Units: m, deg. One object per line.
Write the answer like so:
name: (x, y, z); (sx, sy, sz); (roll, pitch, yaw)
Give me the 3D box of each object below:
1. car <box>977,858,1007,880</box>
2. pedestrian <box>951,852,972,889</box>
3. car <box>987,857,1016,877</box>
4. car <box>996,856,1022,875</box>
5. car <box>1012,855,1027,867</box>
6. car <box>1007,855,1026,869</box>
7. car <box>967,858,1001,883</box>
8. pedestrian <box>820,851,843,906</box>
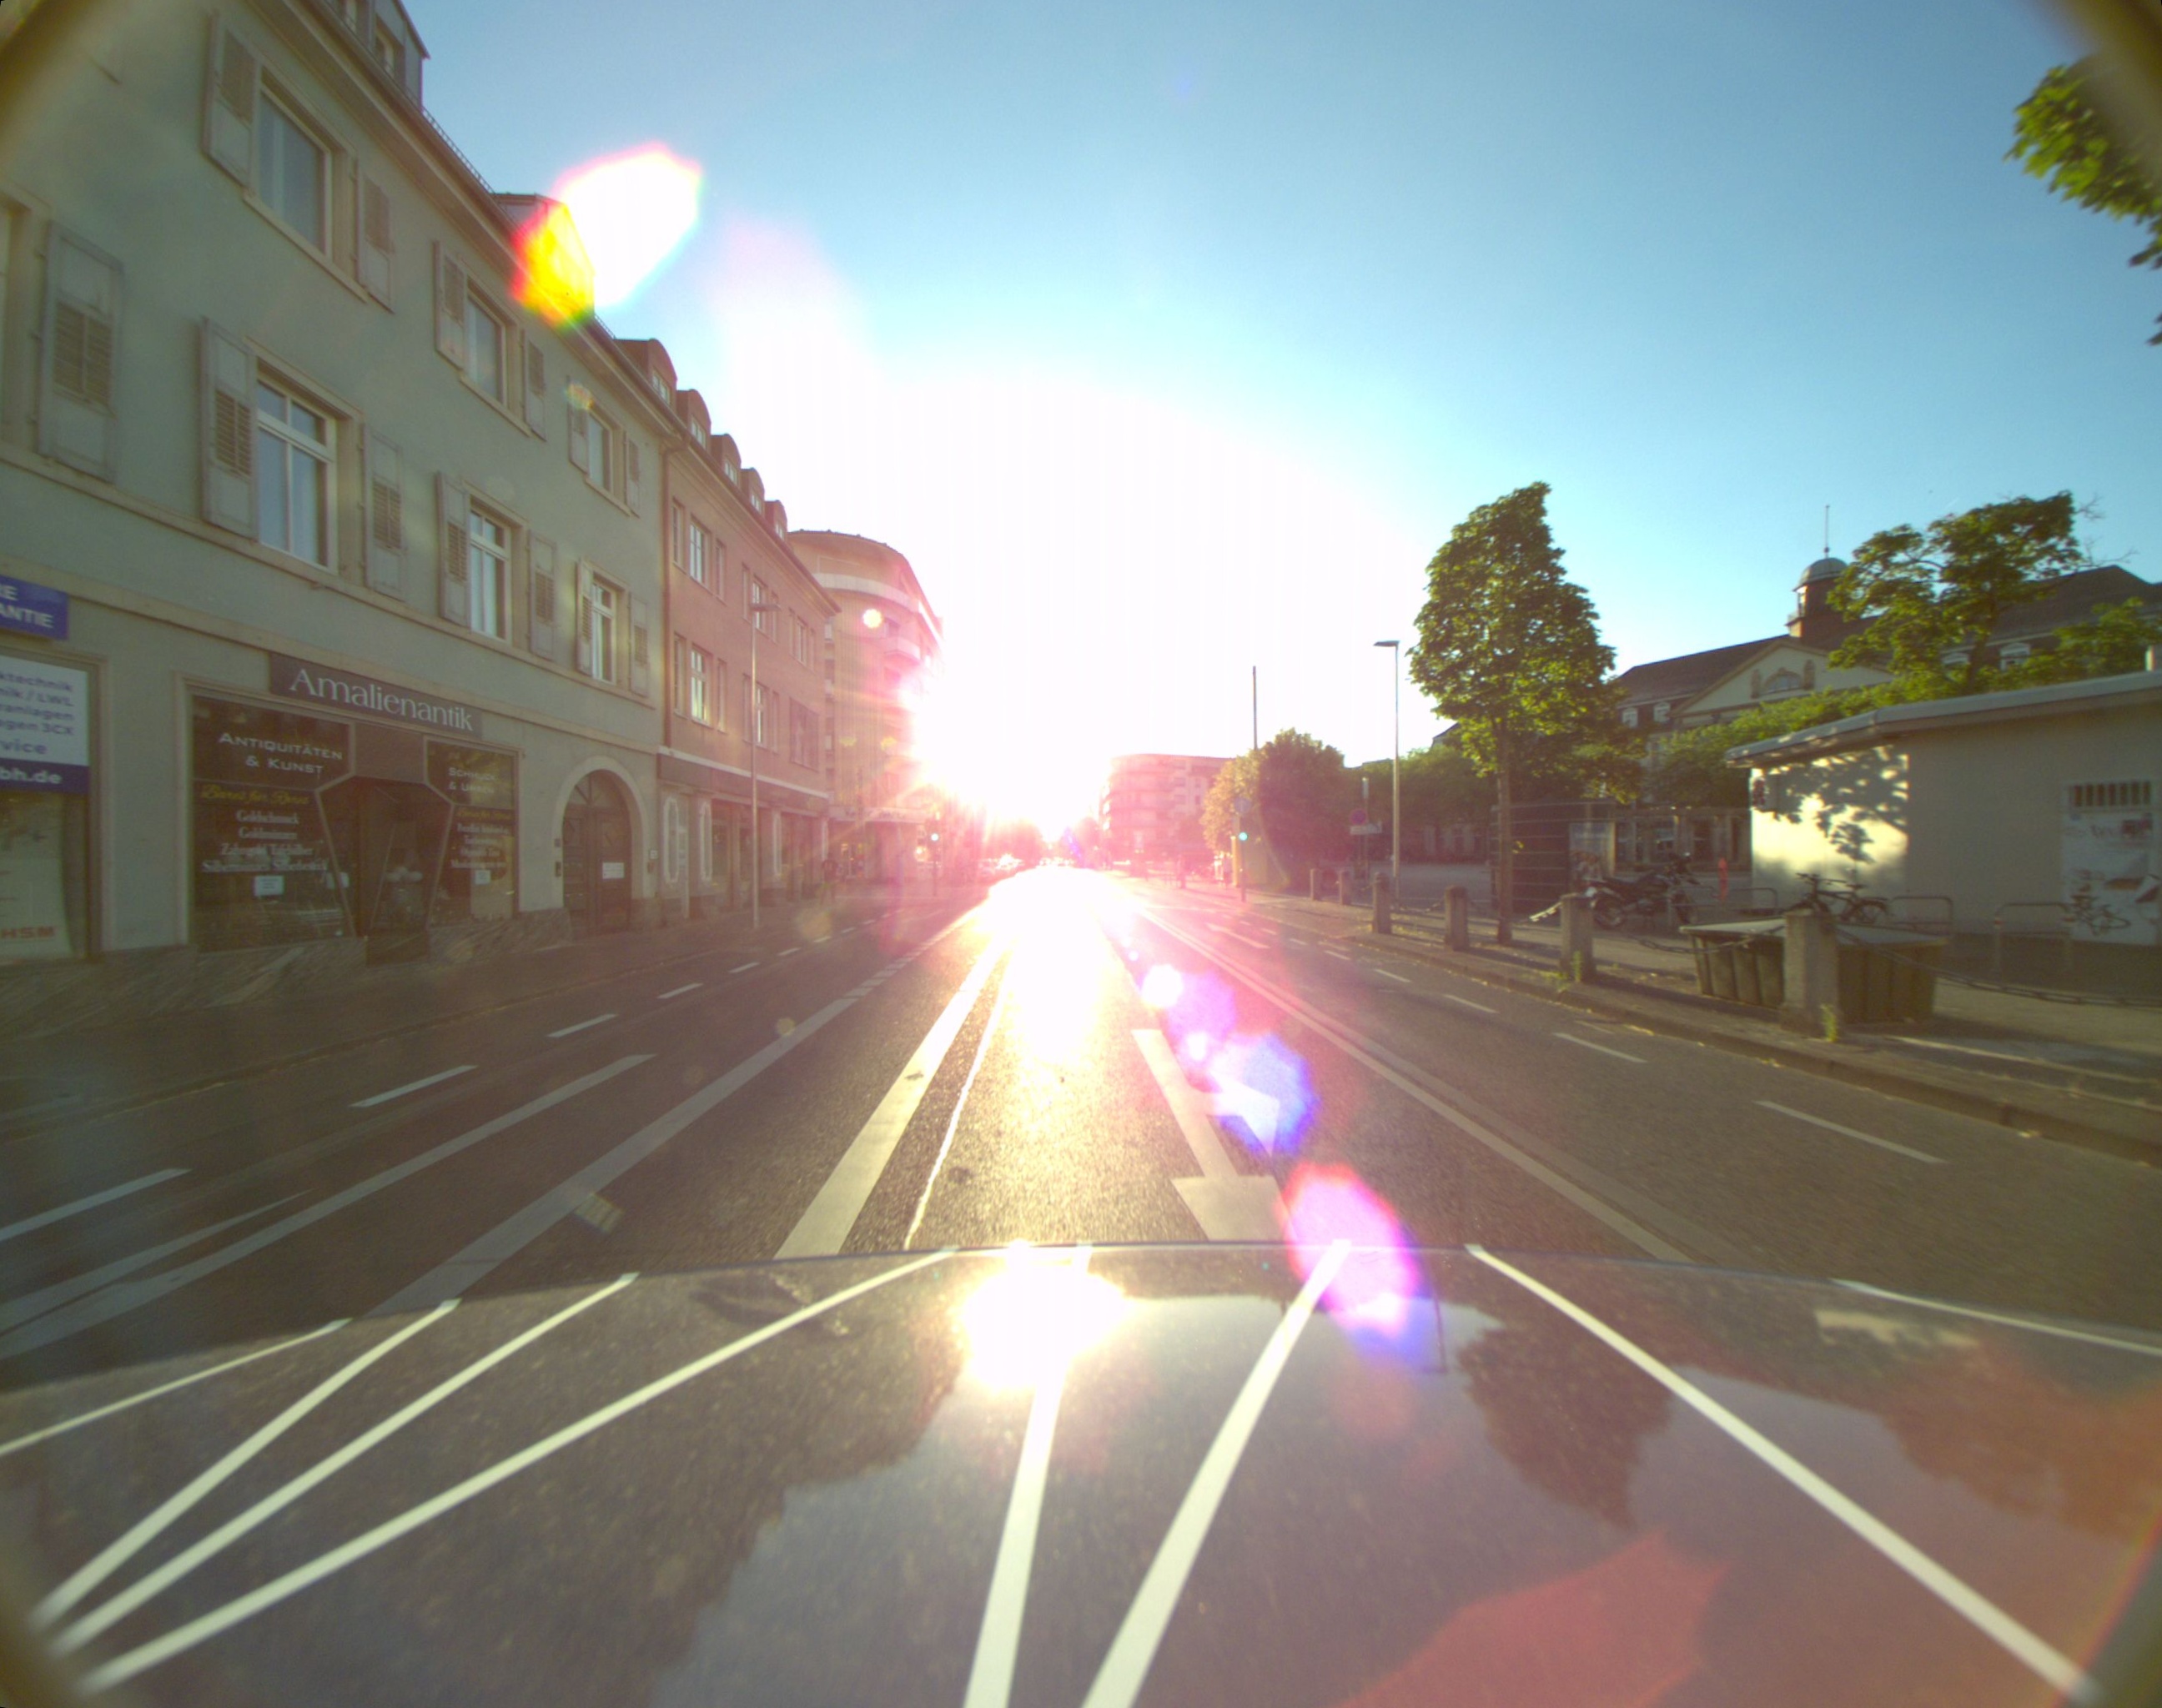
car: (-6.783, 1.121, 58.524); (1.999, 1.538, 4.508); (-2, 0, -4)
pedestrian: (-5.706, 0.796, 36.306); (0.842, 1.736, 0.700); (-2, 1, -3)
car: (-6.679, 1.068, 63.983); (1.999, 1.538, 4.509); (-2, 0, -1)
car: (-6.596, 1.041, 69.833); (1.999, 1.637, 4.509); (-2, 0, -1)
car: (-8.352, 0.995, 103.578); (1.999, 1.538, 4.508); (-2, 0, -4)
car: (-7.664, 0.968, 90.671); (1.999, 1.538, 4.508); (-2, 0, -4)
car: (-6.596, 1.102, 52.115); (1.999, 1.538, 4.508); (-2, 0, -4)
pedestrian: (-8.229, 0.810, 25.047); (0.673, 1.774, 0.721); (1, 1, -18)
